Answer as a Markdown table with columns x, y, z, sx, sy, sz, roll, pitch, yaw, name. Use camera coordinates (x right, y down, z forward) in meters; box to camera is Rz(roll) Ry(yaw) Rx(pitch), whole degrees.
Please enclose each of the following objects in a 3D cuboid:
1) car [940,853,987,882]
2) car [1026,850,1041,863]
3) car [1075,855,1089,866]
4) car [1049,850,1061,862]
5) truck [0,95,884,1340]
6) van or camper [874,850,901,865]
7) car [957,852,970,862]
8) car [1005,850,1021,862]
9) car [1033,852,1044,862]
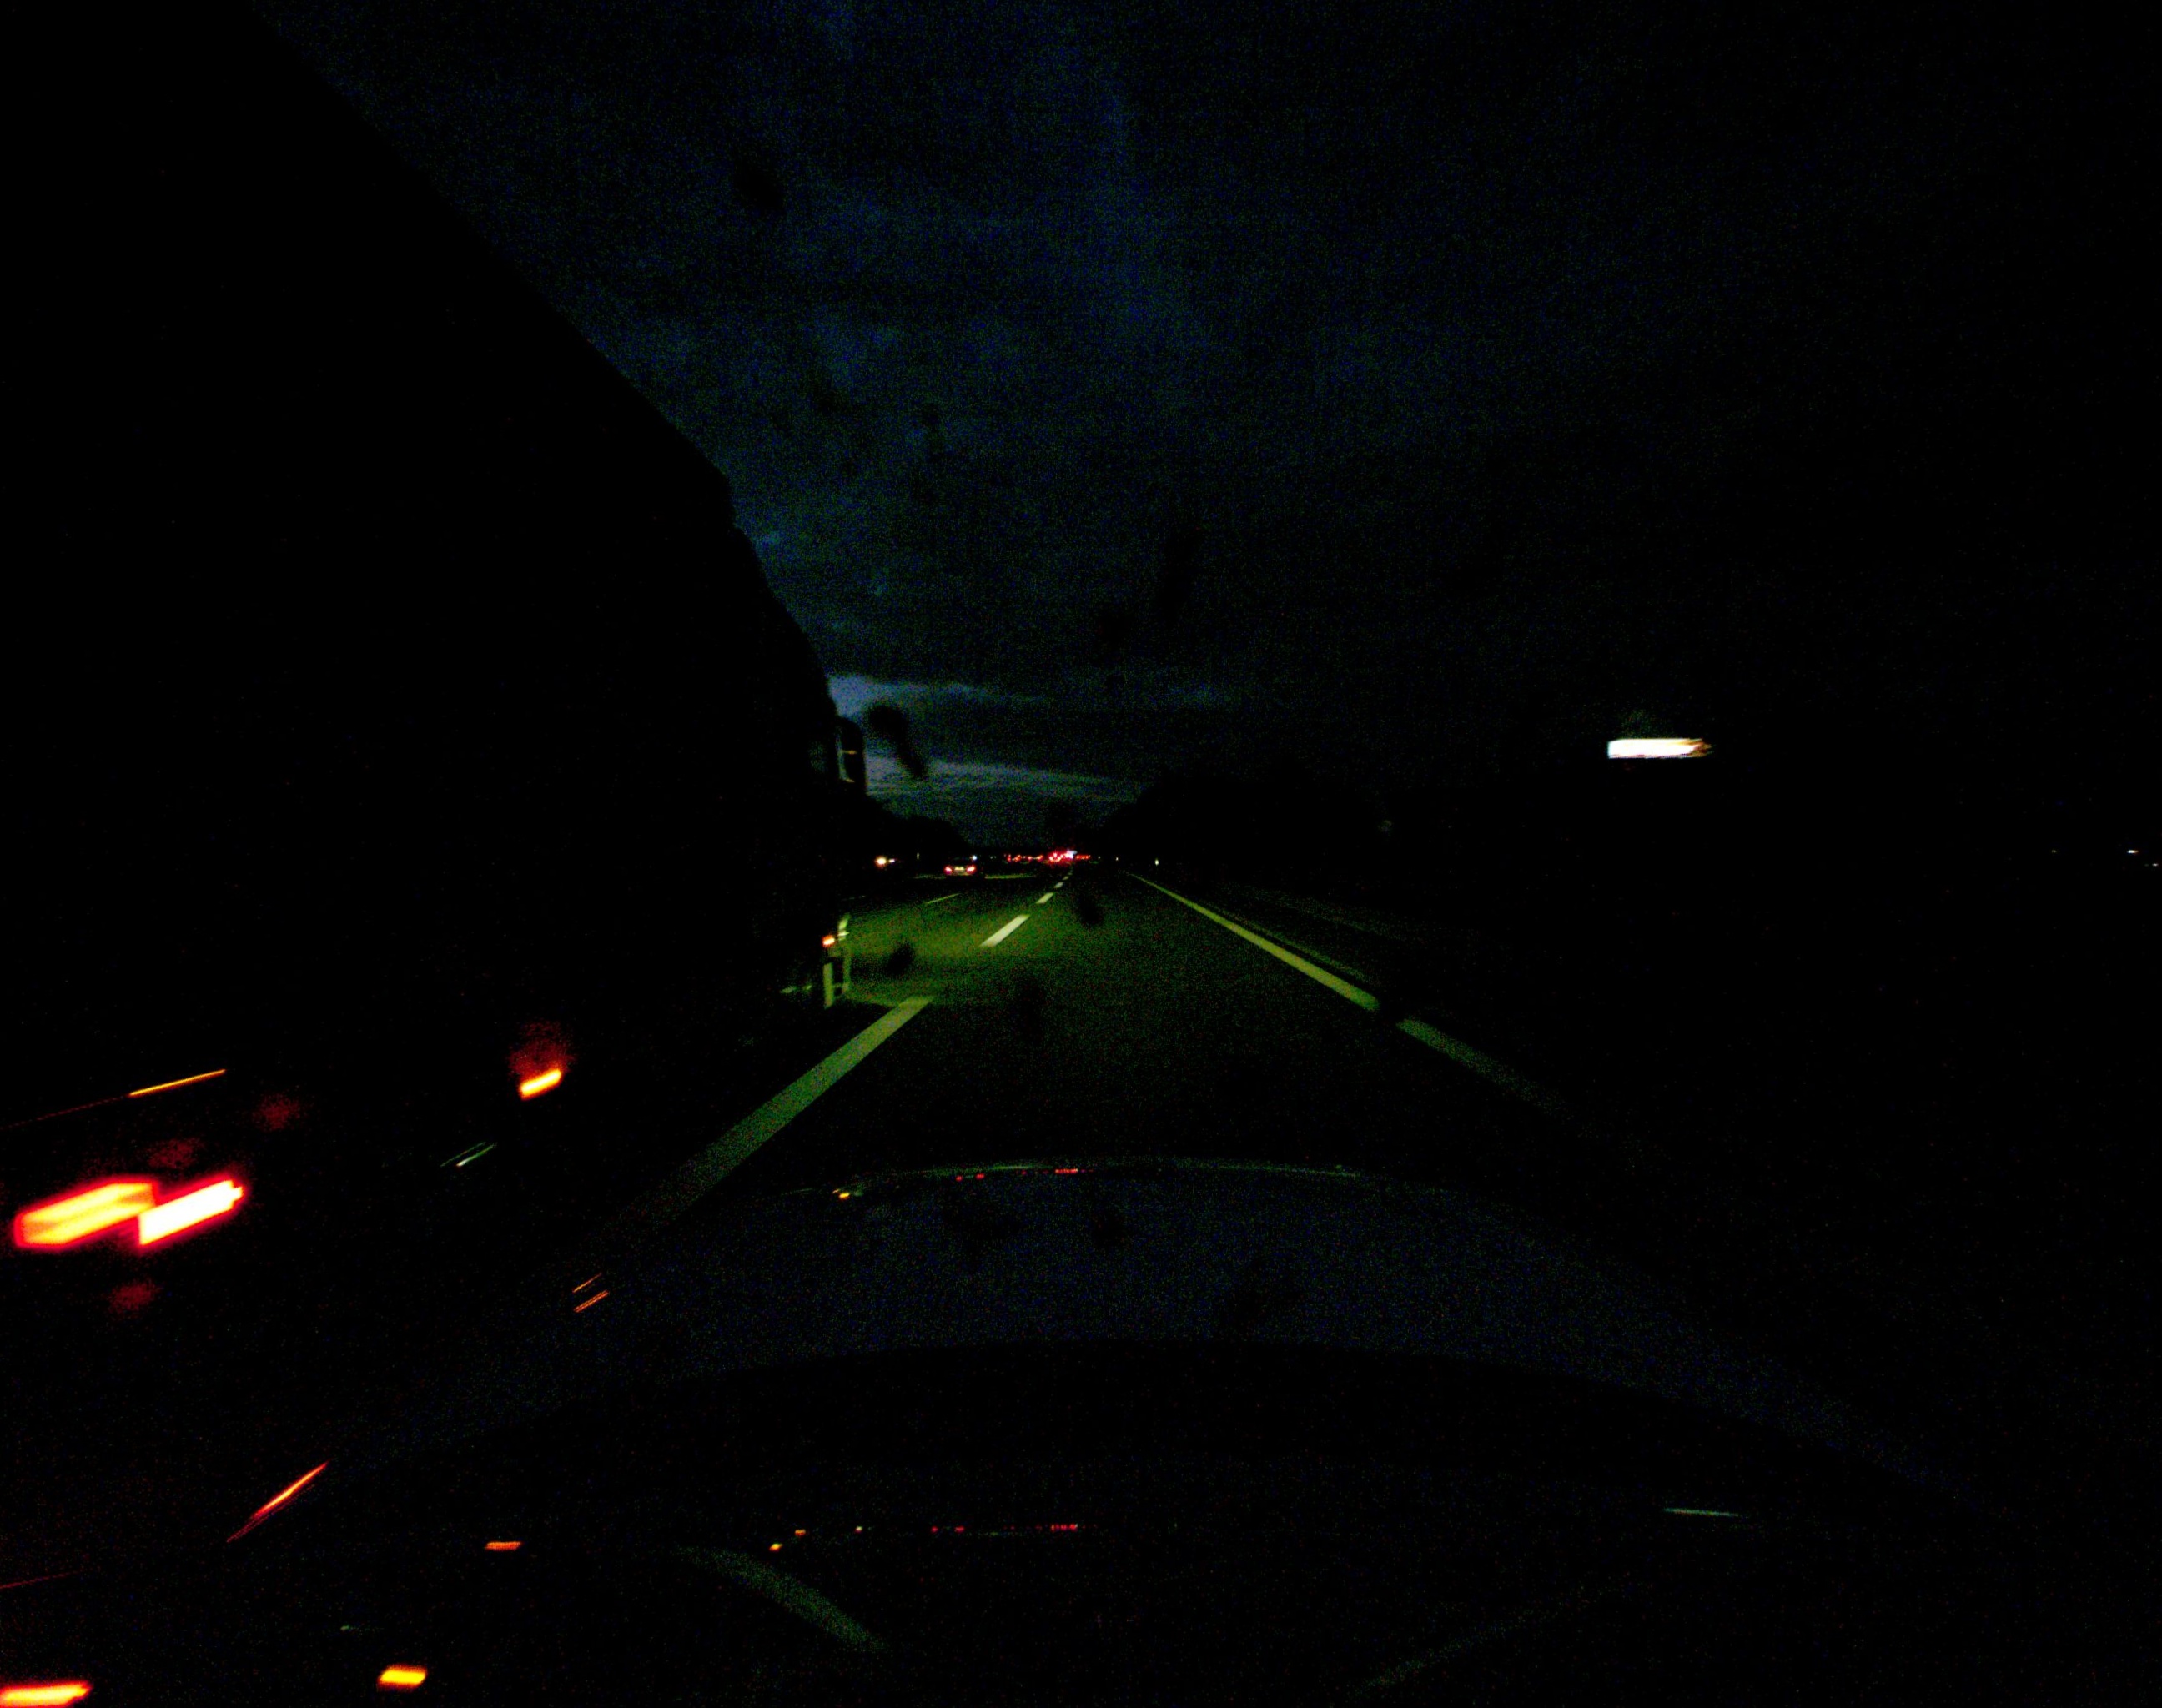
| x | y | z | sx | sy | sz | roll | pitch | yaw | name |
| --- | --- | --- | --- | --- | --- | --- | --- | --- | --- |
| -6.894 | 0.761 | 48.232 | 1.986 | 1.642 | 4.556 | -1 | 0 | 1 | car |
| -7.581 | 0.409 | 130.026 | 2.065 | 2.013 | 3.998 | -1 | 0 | -1 | car |
| 0.167 | 0.984 | 125.468 | 1.988 | 1.659 | 4.312 | -1 | 0 | -1 | car |
| -4.444 | 0.317 | 138.148 | 1.988 | 2.014 | 3.997 | 0 | 0 | -2 | car |
| -3.610 | -0.421 | 5.649 | 2.768 | 3.902 | 6.157 | -1 | 0 | 2 | truck |
| -27.536 | 0.496 | 116.049 | 2.370 | 2.014 | 6.489 | 0 | 0 | -1 | van or camper |
| -24.692 | 0.681 | 171.450 | 1.987 | 2.014 | 4.495 | 0 | -1 | 1 | car |
| -11.361 | 0.330 | 135.862 | 2.097 | 2.013 | 4.002 | -1 | 0 | 2 | car |
| -8.928 | 0.565 | 170.413 | 1.991 | 2.014 | 3.991 | 0 | -1 | -6 | car |
